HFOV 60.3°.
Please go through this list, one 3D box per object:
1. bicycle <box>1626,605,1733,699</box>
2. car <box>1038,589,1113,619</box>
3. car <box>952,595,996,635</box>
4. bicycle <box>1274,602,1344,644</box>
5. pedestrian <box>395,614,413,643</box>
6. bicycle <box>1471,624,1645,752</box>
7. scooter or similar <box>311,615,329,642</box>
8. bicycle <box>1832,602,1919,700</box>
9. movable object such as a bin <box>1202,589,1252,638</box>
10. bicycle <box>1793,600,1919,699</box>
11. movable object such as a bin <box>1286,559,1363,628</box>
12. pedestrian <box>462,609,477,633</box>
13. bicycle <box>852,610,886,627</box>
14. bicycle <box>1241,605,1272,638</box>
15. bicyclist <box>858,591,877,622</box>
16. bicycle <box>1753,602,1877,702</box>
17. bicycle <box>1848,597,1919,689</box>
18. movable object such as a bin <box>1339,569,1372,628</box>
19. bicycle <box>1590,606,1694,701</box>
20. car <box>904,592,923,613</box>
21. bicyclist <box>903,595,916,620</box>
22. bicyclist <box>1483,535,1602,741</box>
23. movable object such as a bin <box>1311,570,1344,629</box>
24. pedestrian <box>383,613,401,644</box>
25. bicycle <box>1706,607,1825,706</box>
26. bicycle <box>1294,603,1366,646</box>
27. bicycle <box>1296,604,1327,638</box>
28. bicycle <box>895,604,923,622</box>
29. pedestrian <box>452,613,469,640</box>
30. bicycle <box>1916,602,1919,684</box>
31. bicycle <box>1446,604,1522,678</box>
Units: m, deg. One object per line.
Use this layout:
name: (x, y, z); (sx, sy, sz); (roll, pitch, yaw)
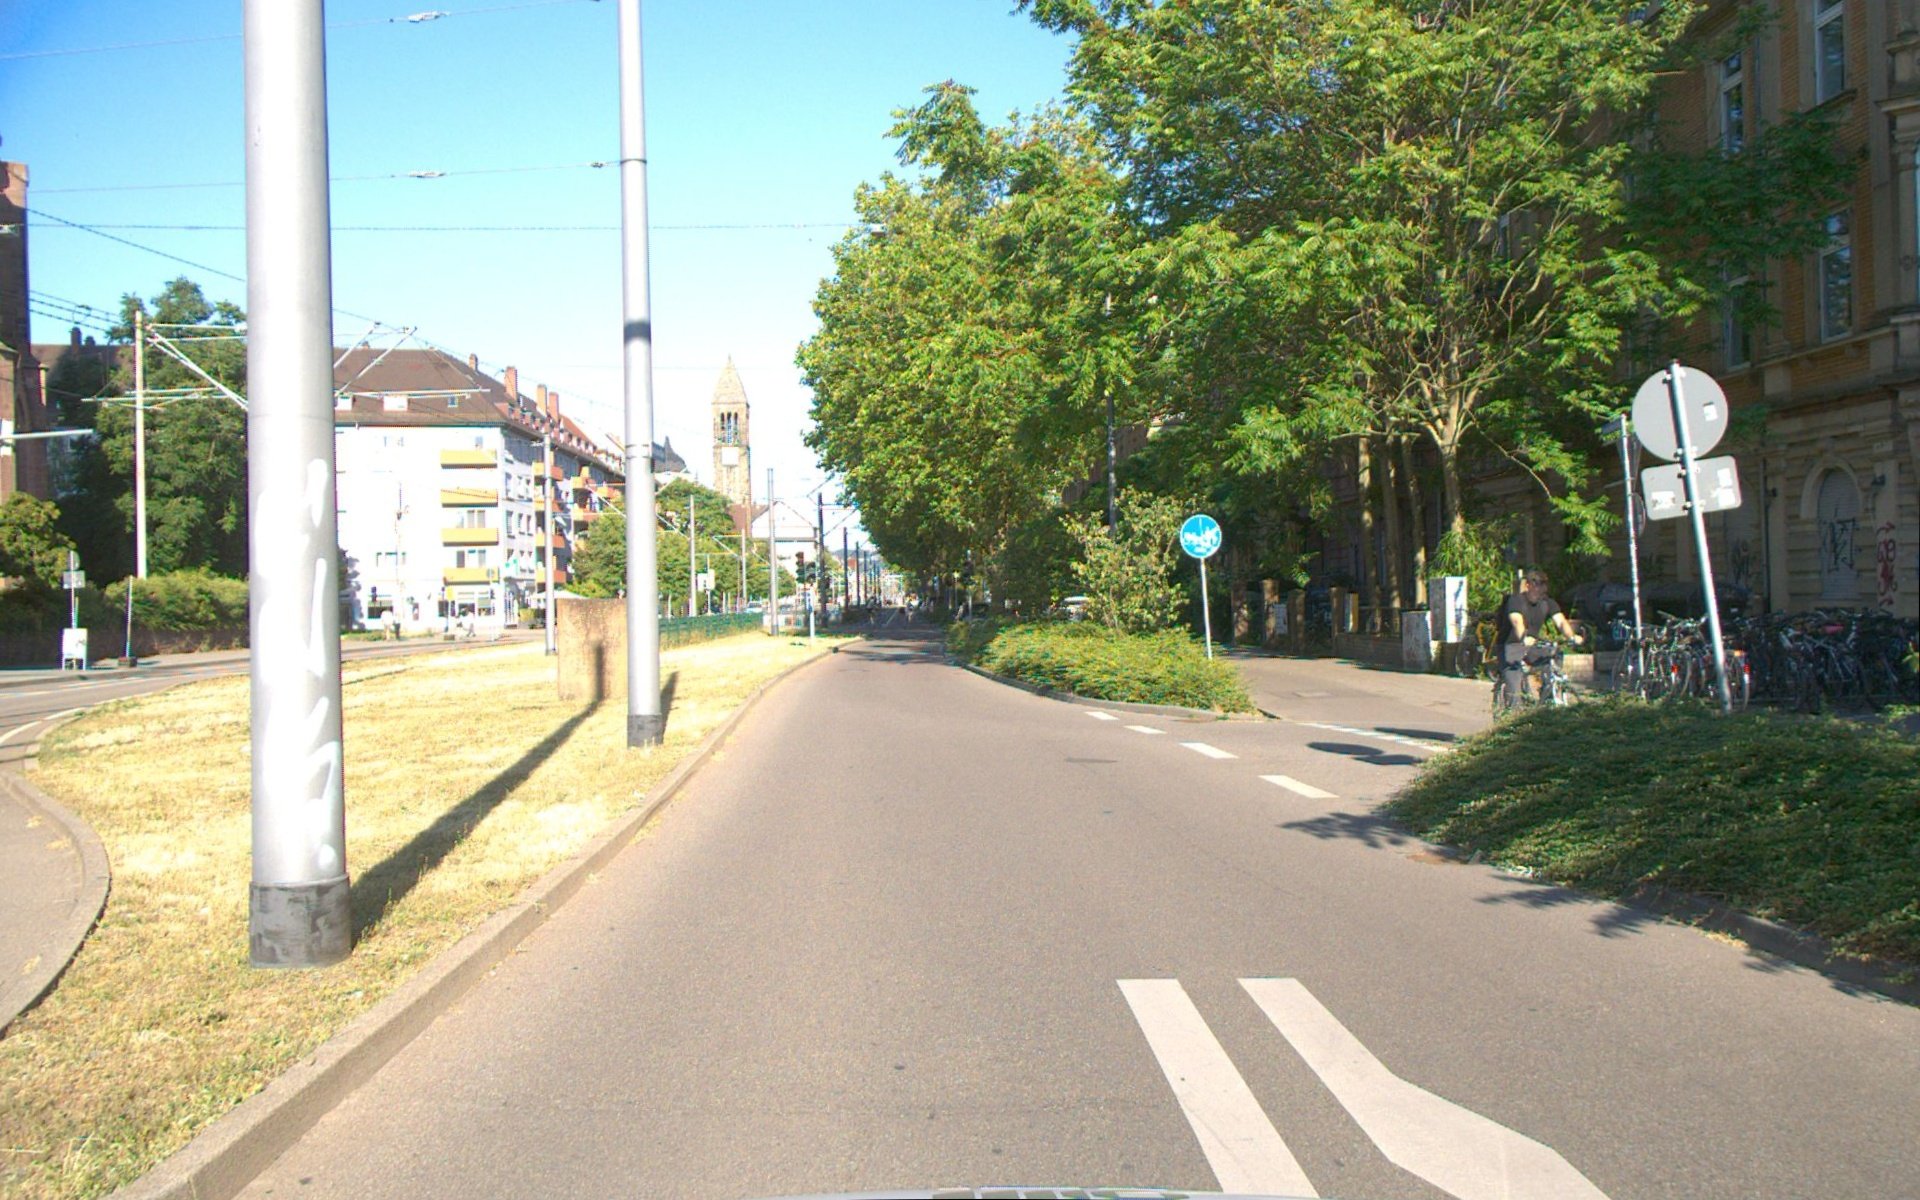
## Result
bicycle: (9.377, 0.653, 21.619); (0.507, 1.065, 1.820); (-3, 3, -3)
car: (6.426, 0.219, 92.079); (3.902, 1.445, 2.002); (-2, 0, 10)
car: (0.552, 0.594, 68.738); (1.610, 1.537, 4.181); (-3, 0, -1)
bicycle: (8.811, 0.580, 41.766); (1.619, 0.940, 0.539); (-3, 3, -1)
pedestrian: (-30.763, 1.585, 91.529); (0.577, 1.493, 0.916); (-3, 3, -2)
bicycle: (5.516, 0.776, 15.429); (0.628, 1.066, 2.359); (-3, -1, -3)
scooter or similar: (-33.138, 1.459, 85.619); (0.393, 1.283, 1.230); (-3, 3, -1)
bicycle: (11.690, 0.612, 20.701); (0.507, 1.065, 1.820); (-3, 3, -3)
movable object such as a bin: (8.134, 0.394, 50.374); (1.207, 1.406, 1.256); (-3, 0, -3)
bicycle: (11.169, 0.594, 20.671); (0.507, 1.065, 1.820); (-3, 3, -3)
movable object such as a bin: (11.545, -0.211, 52.501); (1.515, 2.031, 3.229); (-3, 0, -3)
pedestrian: (-31.104, 1.326, 104.879); (0.583, 1.493, 0.906); (-4, 3, -31)
bicycle: (-5.957, 1.201, 107.937); (2.196, 0.993, 0.682); (-2, 3, -3)
bicycle: (8.211, 0.597, 45.857); (0.753, 0.869, 0.375); (-3, 3, -5)
bicyclist: (-6.036, 0.436, 107.898); (1.118, 1.923, 0.682); (-3, 3, -2)
bicycle: (10.631, 0.622, 20.627); (0.507, 1.065, 1.820); (-3, 3, -3)
bicycle: (12.286, 0.546, 21.416); (0.507, 1.065, 1.820); (-3, 3, -3)
movable object such as a bin: (12.052, -0.061, 50.442); (0.739, 1.722, 0.742); (-3, 3, -4)
bicycle: (8.876, 0.678, 21.597); (0.507, 1.065, 1.820); (-3, 3, -3)
car: (-4.979, 0.292, 178.158); (1.953, 2.144, 3.999); (0, -1, -1)
bicyclist: (-3.345, 0.503, 109.934); (0.736, 1.584, 0.572); (-3, 3, -10)
bicyclist: (5.487, 0.352, 15.631); (0.628, 1.846, 1.051); (-3, -1, -3)
movable object such as a bin: (11.201, -0.017, 50.382); (0.739, 1.722, 0.742); (-3, 3, -4)
pedestrian: (-31.413, 1.553, 91.499); (0.631, 1.626, 0.898); (-3, 3, -2)
bicycle: (10.005, 0.676, 20.597); (0.507, 1.065, 1.820); (-3, 3, -3)
bicycle: (9.081, 0.590, 40.651); (1.619, 0.940, 0.539); (-3, 3, -1)
bicycle: (9.768, 0.584, 45.951); (0.753, 0.869, 0.375); (-3, 3, -5)
bicycle: (-3.409, 0.863, 109.931); (1.782, 1.066, 0.572); (-3, 3, -10)
pedestrian: (-28.856, 1.515, 95.564); (0.674, 1.493, 0.591); (-2, 3, 1)
bicycle: (12.843, 0.595, 20.801); (0.507, 1.065, 1.820); (-3, 3, -3)
bicycle: (8.153, 0.623, 25.800); (0.515, 1.005, 1.721); (-3, 3, -3)
